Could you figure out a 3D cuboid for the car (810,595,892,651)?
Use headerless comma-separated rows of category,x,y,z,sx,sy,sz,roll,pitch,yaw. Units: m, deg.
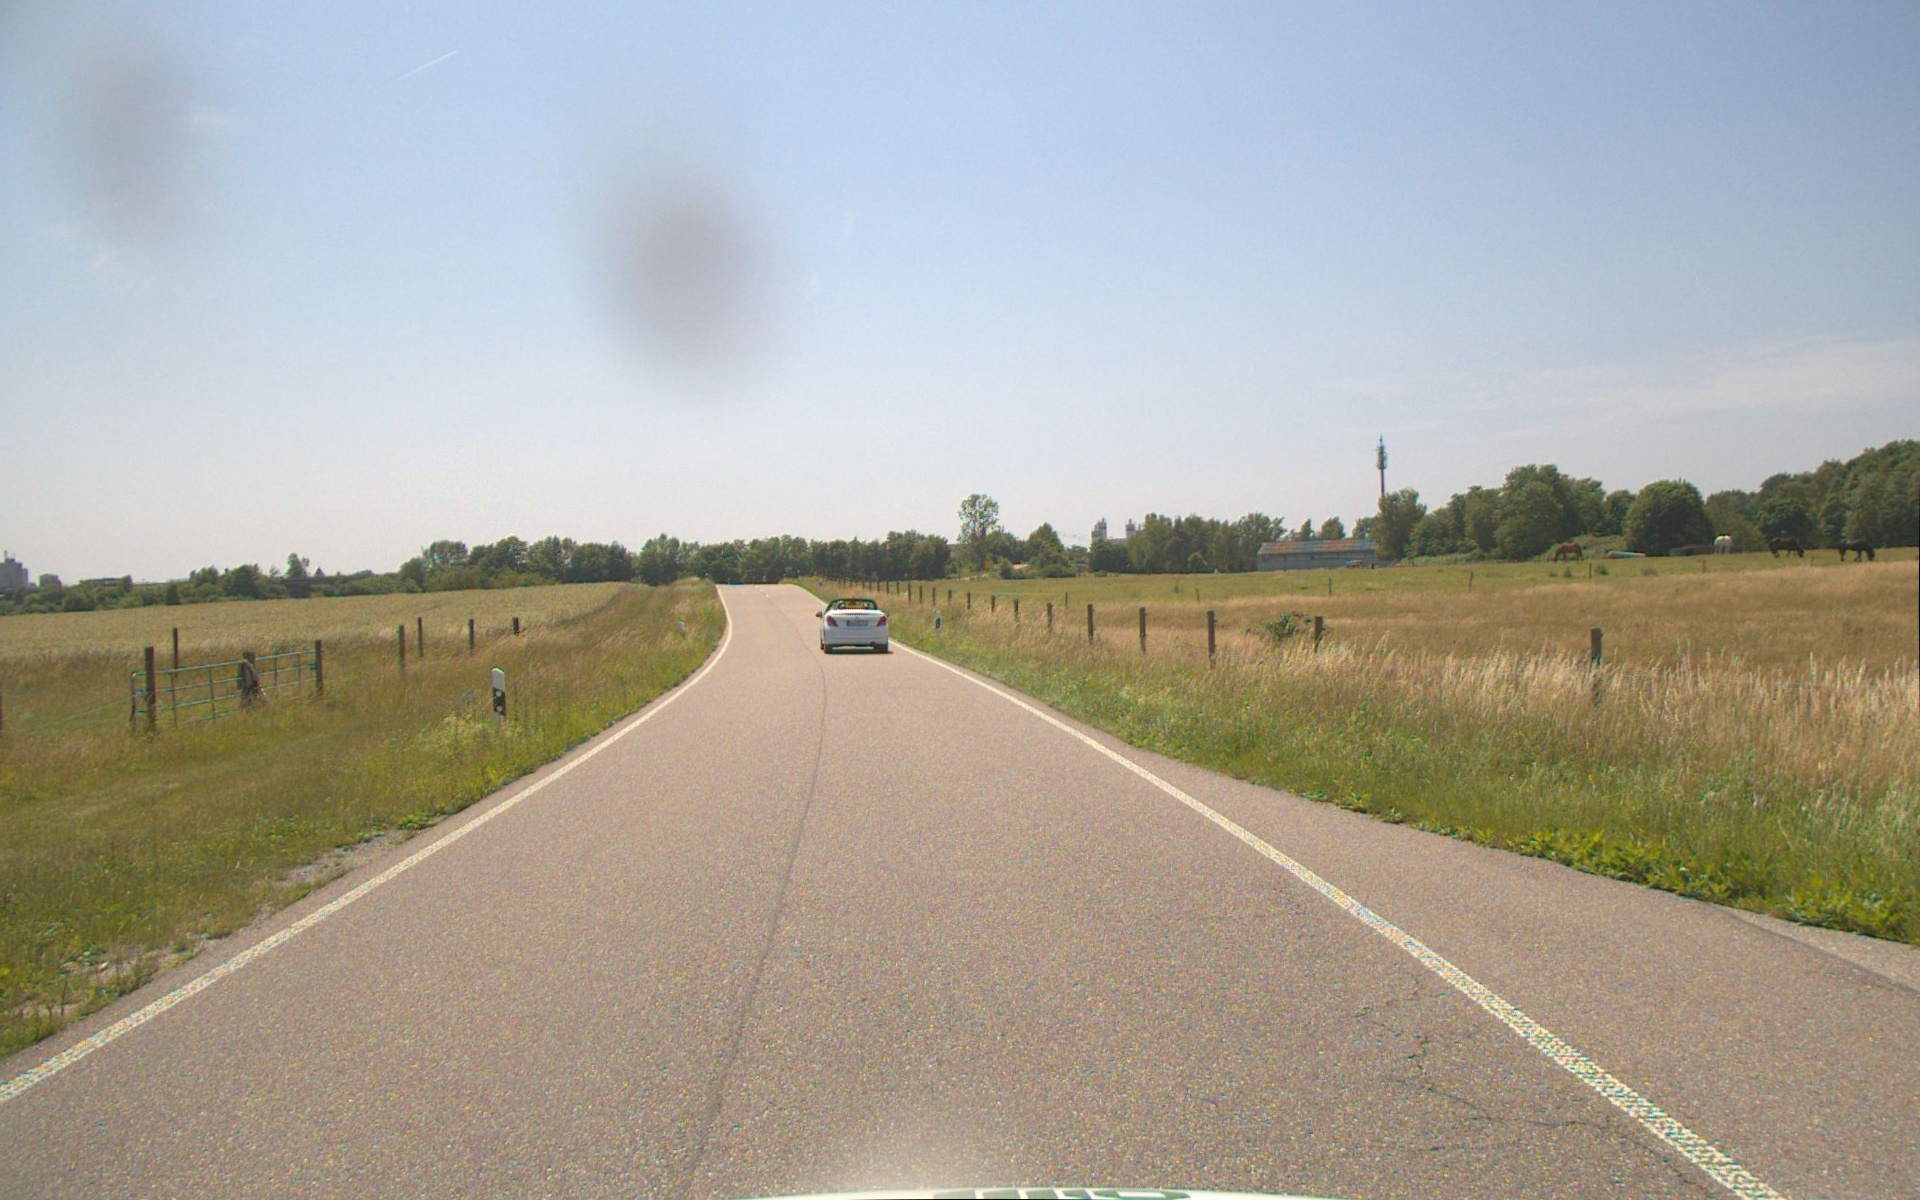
car,-2.940,0.572,43.848,1.817,1.403,3.992,0,0,-9
